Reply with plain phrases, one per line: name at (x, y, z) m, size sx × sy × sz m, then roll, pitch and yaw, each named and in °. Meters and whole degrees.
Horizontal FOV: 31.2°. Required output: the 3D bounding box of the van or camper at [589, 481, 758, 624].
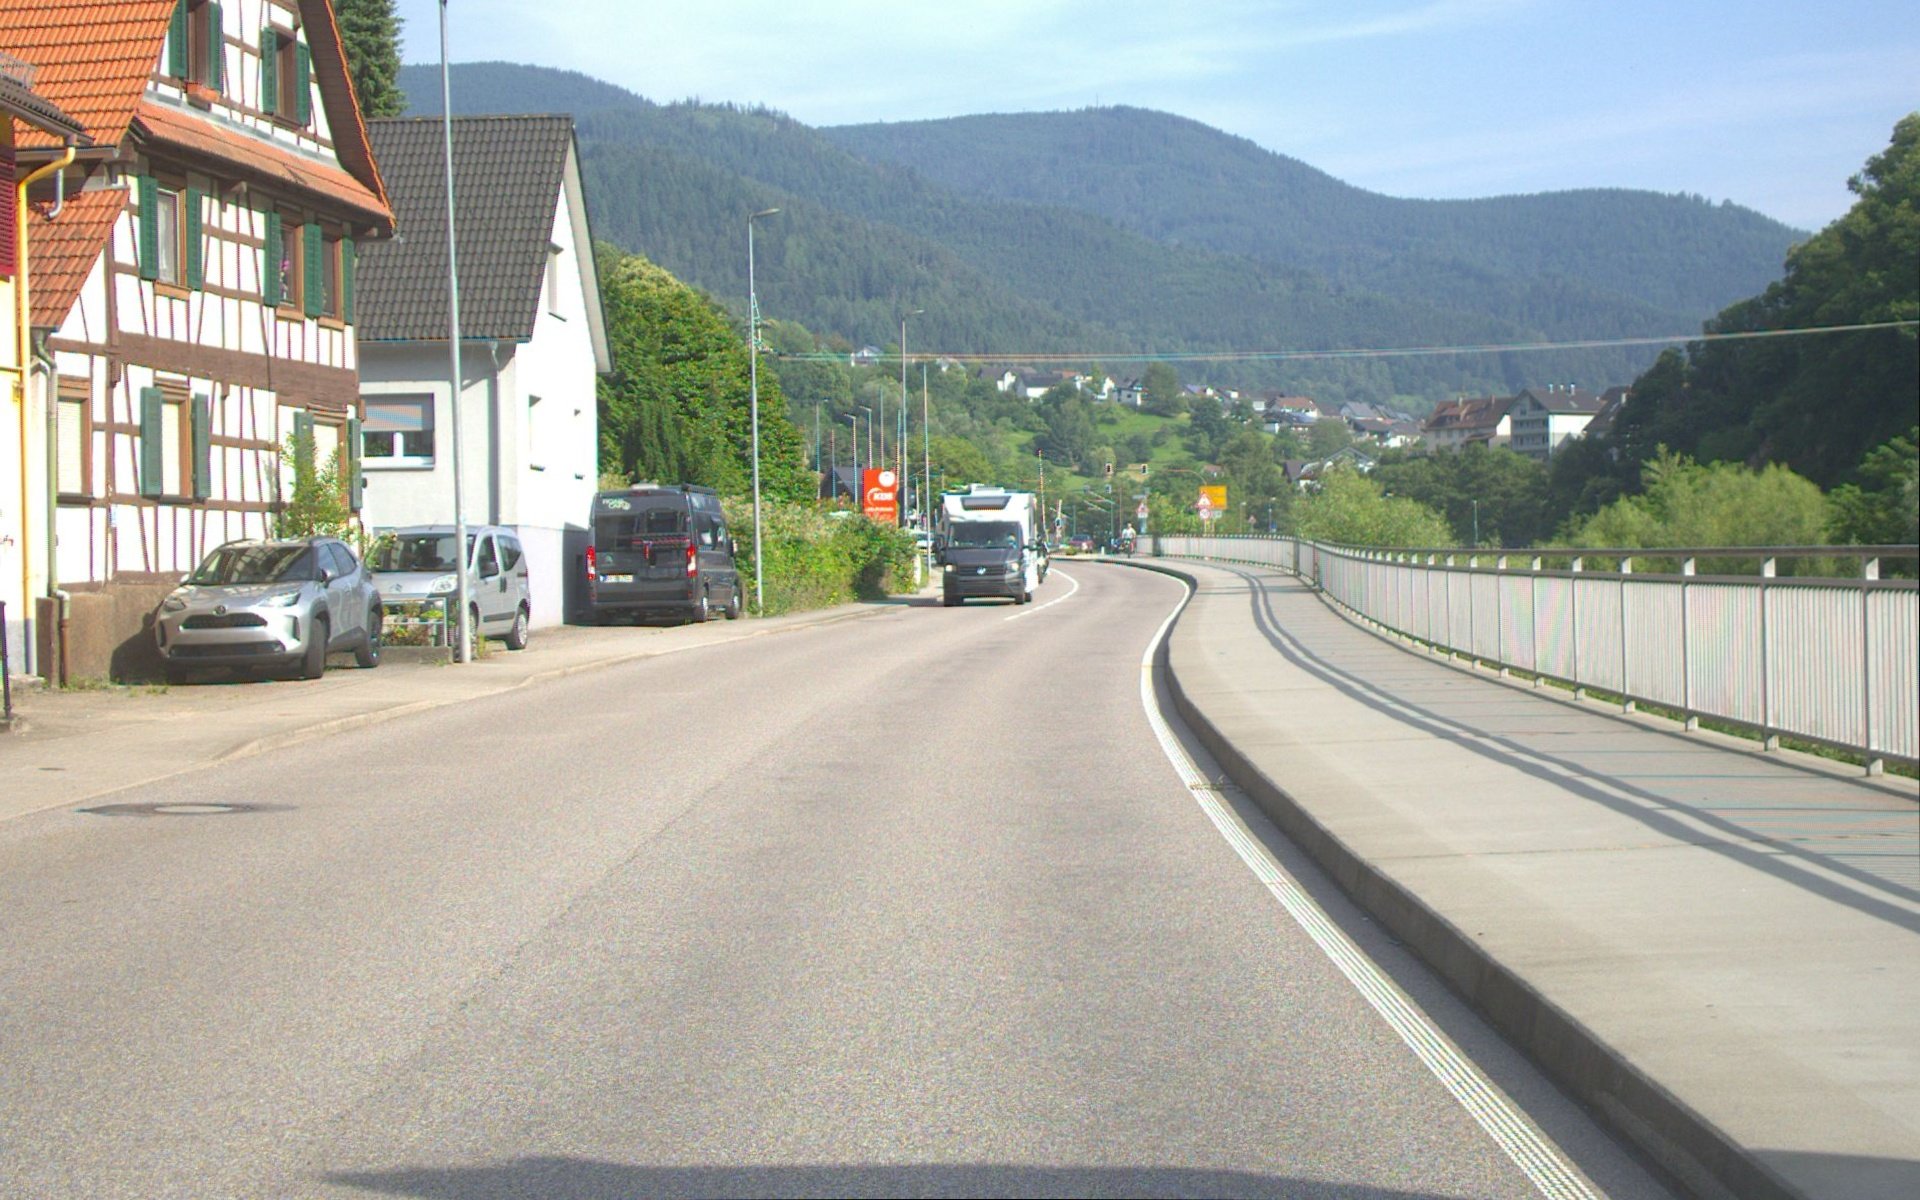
van or camper at (-5.328, -0.892, 64.724) m, size 2.148 × 2.546 × 5.900 m, roll 0°, pitch 1°, yaw 5°

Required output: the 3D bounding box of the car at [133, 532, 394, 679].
car at (-7.795, 0.021, 38.846) m, size 1.884 × 1.514 × 4.094 m, roll -2°, pitch 1°, yaw 3°

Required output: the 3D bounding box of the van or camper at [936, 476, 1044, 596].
van or camper at (0.822, -1.636, 87.708) m, size 2.195 × 2.928 × 7.126 m, roll 0°, pitch 1°, yaw 5°

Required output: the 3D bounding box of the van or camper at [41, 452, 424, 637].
van or camper at (-10.941, -0.845, 51.812) m, size 5.178 × 2.654 × 2.191 m, roll 1°, pitch 1°, yaw 11°

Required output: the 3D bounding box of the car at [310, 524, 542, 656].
car at (-7.020, -0.161, 45.647) m, size 1.901 × 1.659 × 4.266 m, roll 0°, pitch 1°, yaw 8°

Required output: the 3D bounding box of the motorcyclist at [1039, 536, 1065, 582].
motorcyclist at (3.162, -1.416, 118.425) m, size 0.826 × 1.553 × 0.628 m, roll -1°, pitch 0°, yaw 8°

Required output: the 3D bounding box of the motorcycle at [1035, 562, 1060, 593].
motorcycle at (3.025, -0.786, 118.533) m, size 0.654 × 1.064 × 2.181 m, roll -1°, pitch 1°, yaw 7°
